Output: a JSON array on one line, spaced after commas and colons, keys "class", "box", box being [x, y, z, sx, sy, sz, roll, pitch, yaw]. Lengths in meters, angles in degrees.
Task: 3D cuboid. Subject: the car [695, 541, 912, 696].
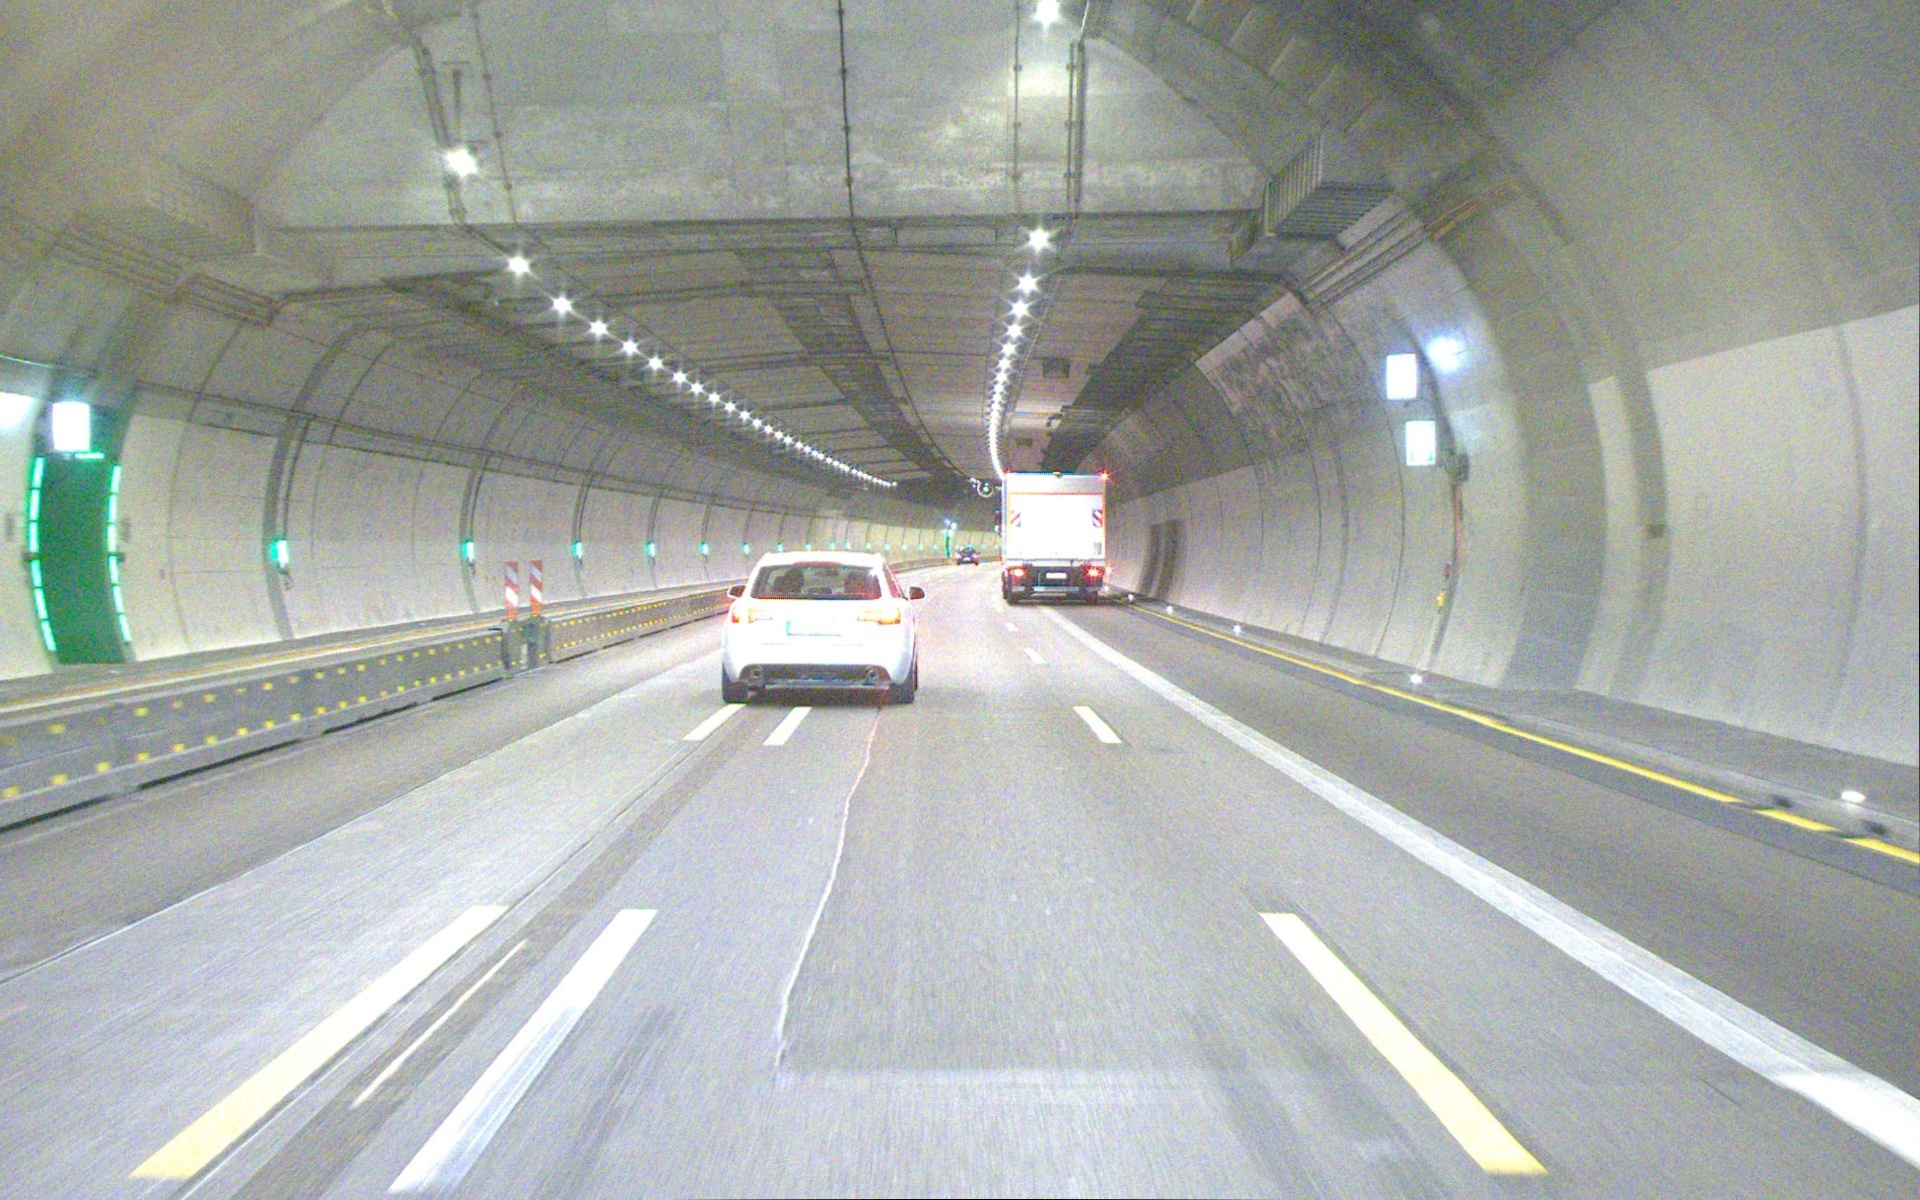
[{"class": "car", "box": [-1.476, 0.132, 34.061, 1.993, 1.408, 4.743, 0, 1, -1]}]

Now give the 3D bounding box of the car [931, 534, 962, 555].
[{"class": "car", "box": [-1.014, -4.160, 256.922, 1.994, 1.514, 4.000, 0, 1, 4]}]

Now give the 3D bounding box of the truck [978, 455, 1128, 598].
[{"class": "truck", "box": [2.399, -1.969, 93.024, 3.592, 3.638, 10.723, 0, 1, -1]}]
